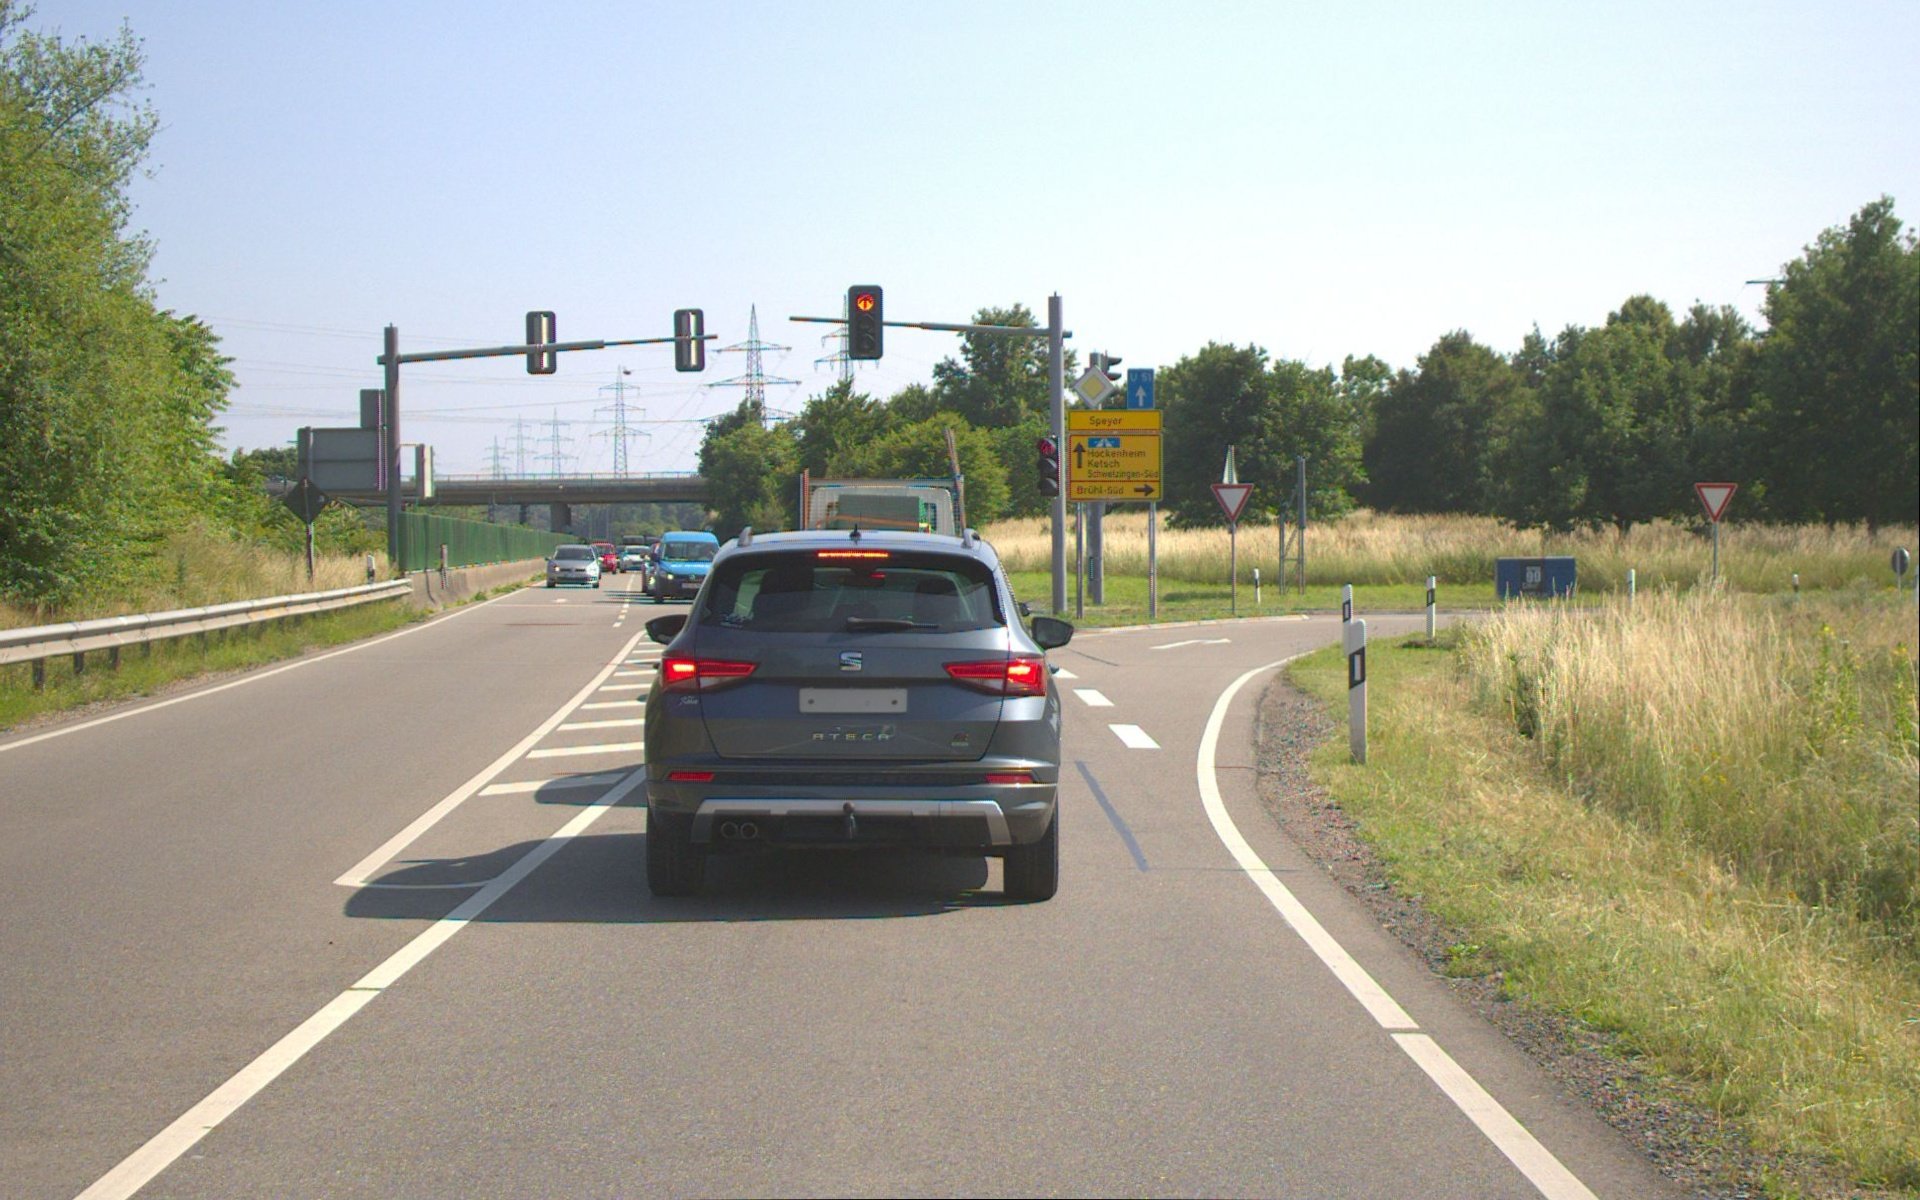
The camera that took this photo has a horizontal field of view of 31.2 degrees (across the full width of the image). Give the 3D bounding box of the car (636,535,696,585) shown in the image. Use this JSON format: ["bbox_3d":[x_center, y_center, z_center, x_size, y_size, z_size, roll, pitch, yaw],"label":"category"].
[{"bbox_3d":[-8.530,-1.168,99.419,1.684,1.375,3.534,0,1,-6],"label":"car"}]

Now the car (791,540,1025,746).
[{"bbox_3d":[-0.484,0.293,28.289,1.785,1.538,4.001,0,1,-3],"label":"car"}]

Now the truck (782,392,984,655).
[{"bbox_3d":[-0.961,-0.920,42.963,2.337,3.055,5.810,0,1,-1],"label":"truck"}]

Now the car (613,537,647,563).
[{"bbox_3d":[-17.855,-2.711,185.754,1.761,1.329,4.001,-1,1,-6],"label":"car"}]

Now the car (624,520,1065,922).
[{"bbox_3d":[-0.555,0.447,16.015,1.785,1.623,4.001,0,1,-2],"label":"car"}]

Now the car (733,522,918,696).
[{"bbox_3d":[-1.391,0.037,35.346,1.785,1.670,4.001,0,1,-3],"label":"car"}]

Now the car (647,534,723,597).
[{"bbox_3d":[-6.963,-0.895,86.780,1.816,1.535,4.001,-1,1,-6],"label":"car"}]

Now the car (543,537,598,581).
[{"bbox_3d":[-13.327,-1.420,117.780,1.824,1.426,4.001,-1,1,-6],"label":"car"}]

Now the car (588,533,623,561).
[{"bbox_3d":[-18.318,-2.752,177.479,1.761,1.426,4.001,-1,1,-6],"label":"car"}]
